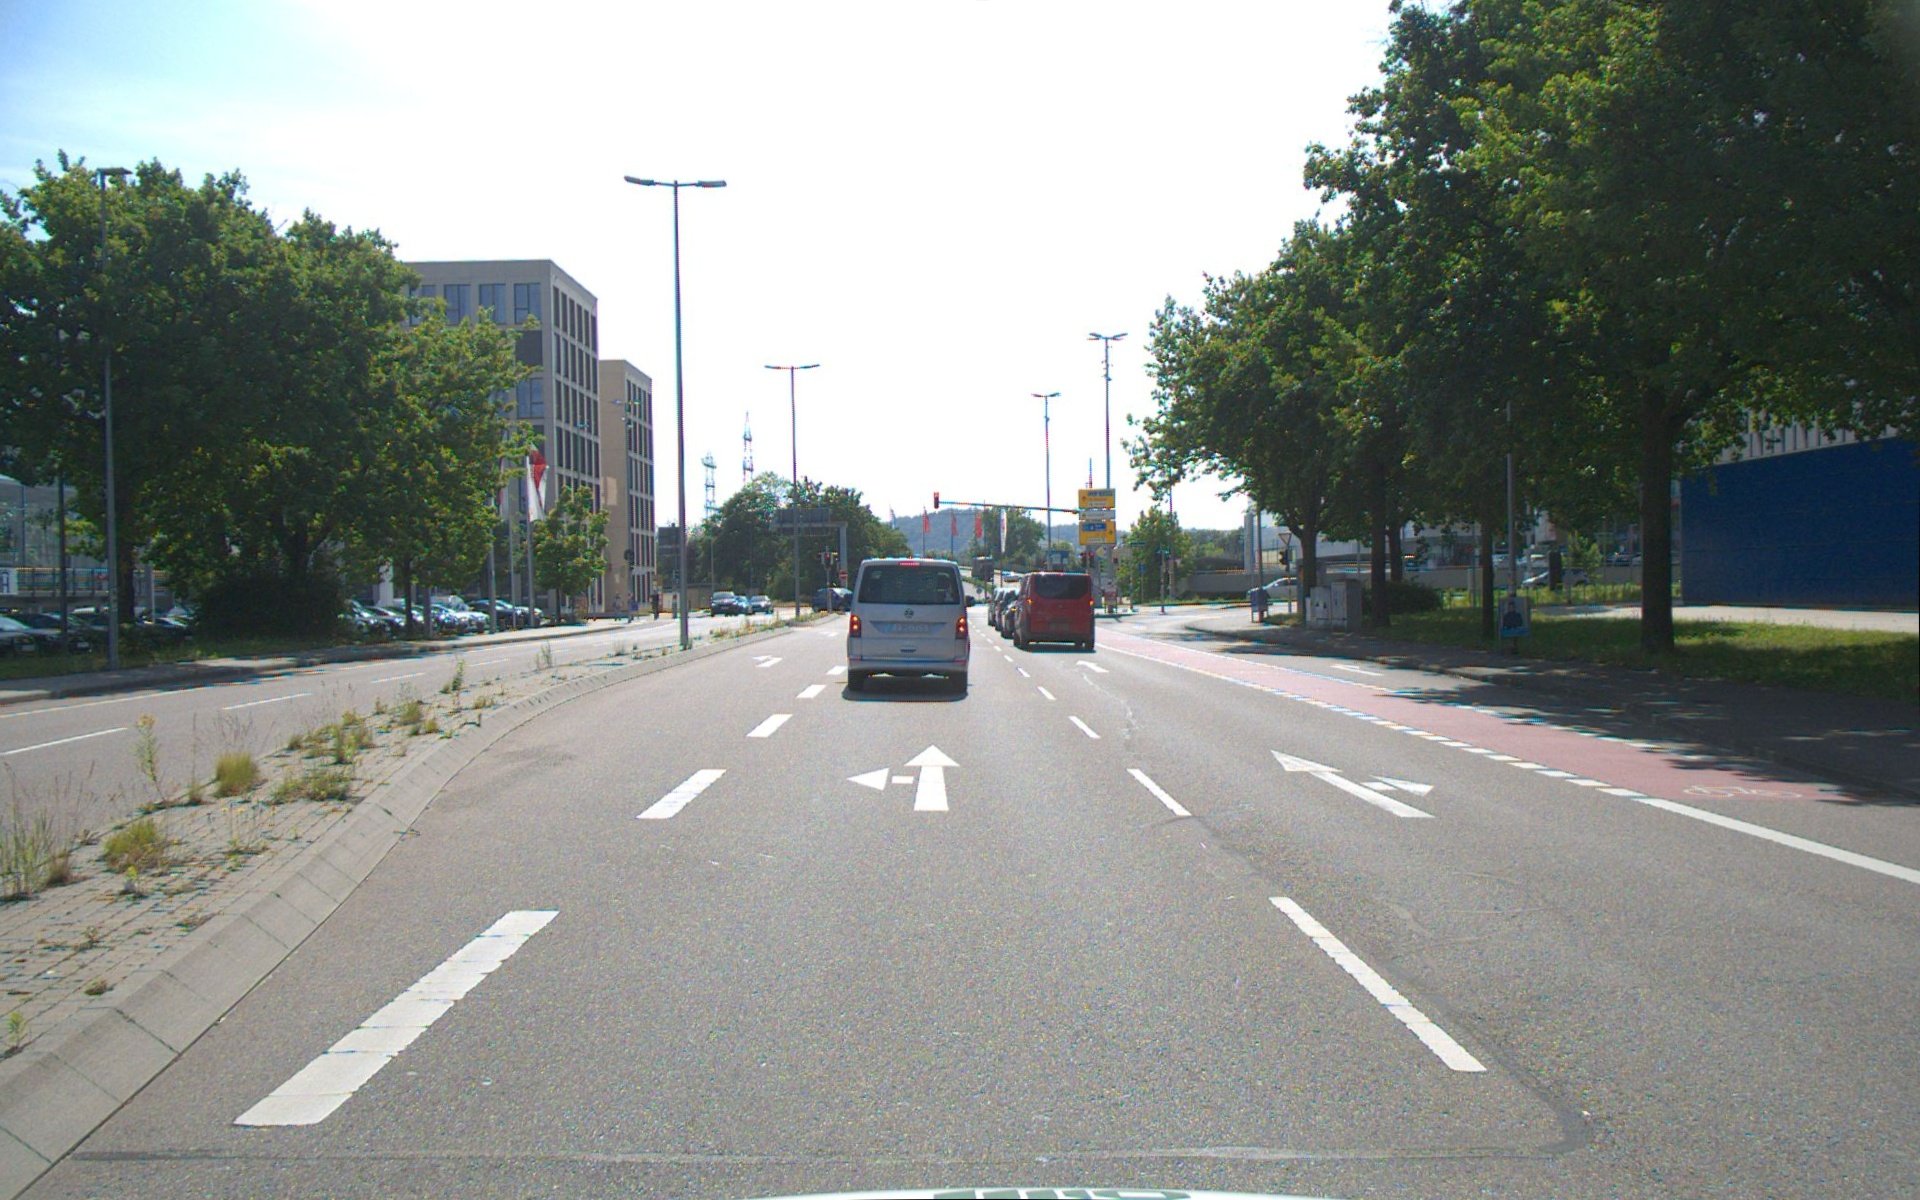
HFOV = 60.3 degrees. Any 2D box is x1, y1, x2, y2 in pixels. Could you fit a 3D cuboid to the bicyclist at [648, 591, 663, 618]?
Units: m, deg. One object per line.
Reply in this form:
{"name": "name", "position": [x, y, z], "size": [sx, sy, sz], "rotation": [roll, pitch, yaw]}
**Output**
{"name": "bicyclist", "position": [-18.078, 0.259, 98.258], "size": [0.606, 1.553, 1.036], "rotation": [-2, 0, 0]}

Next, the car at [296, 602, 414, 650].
{"name": "car", "position": [-23.136, 0.984, 63.288], "size": [3.794, 1.444, 1.660], "rotation": [-5, 1, 2]}

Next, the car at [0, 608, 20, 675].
{"name": "car", "position": [-23.086, 1.096, 36.059], "size": [3.907, 1.467, 2.000], "rotation": [-5, 0, -1]}

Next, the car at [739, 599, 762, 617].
{"name": "car", "position": [-17.334, 0.649, 137.102], "size": [1.545, 1.434, 4.376], "rotation": [-1, 0, -3]}

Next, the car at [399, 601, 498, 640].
{"name": "car", "position": [-23.036, 0.920, 74.576], "size": [3.794, 1.388, 1.749], "rotation": [-5, 1, 2]}

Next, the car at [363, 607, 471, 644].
{"name": "car", "position": [-22.774, 1.047, 69.442], "size": [3.794, 1.186, 1.912], "rotation": [-5, 1, 2]}

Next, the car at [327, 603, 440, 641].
{"name": "car", "position": [-23.163, 0.875, 66.510], "size": [3.794, 1.173, 1.796], "rotation": [-5, 1, 2]}

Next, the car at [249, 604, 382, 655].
{"name": "car", "position": [-22.555, 1.016, 58.002], "size": [3.794, 1.444, 1.912], "rotation": [-5, 1, 2]}

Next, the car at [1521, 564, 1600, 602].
{"name": "car", "position": [37.507, -1.065, 103.296], "size": [4.310, 2.029, 1.481], "rotation": [-4, 0, 3]}

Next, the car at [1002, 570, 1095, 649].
{"name": "car", "position": [2.337, 0.230, 44.990], "size": [1.929, 2.002, 5.121], "rotation": [0, 0, -4]}

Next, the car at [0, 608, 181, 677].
{"name": "car", "position": [-23.408, 1.130, 44.089], "size": [4.219, 1.467, 2.051], "rotation": [-5, 0, -2]}

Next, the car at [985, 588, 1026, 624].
{"name": "car", "position": [1.908, 0.232, 69.963], "size": [1.546, 1.483, 3.784], "rotation": [0, 0, -1]}

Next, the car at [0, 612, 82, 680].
{"name": "car", "position": [-23.187, 1.194, 38.661], "size": [4.163, 1.467, 2.000], "rotation": [-5, 0, -1]}

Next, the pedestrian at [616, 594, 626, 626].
{"name": "pedestrian", "position": [-21.695, 0.642, 105.829], "size": [0.548, 2.049, 0.575], "rotation": [0, 0, -9]}

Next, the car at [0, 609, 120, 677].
{"name": "car", "position": [-23.552, 1.138, 41.270], "size": [4.056, 1.467, 2.000], "rotation": [-5, 0, -1]}

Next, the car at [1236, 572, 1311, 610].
{"name": "car", "position": [19.317, -0.537, 101.928], "size": [4.310, 2.029, 1.481], "rotation": [-4, 0, 3]}

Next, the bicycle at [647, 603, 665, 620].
{"name": "bicycle", "position": [-18.069, 0.699, 98.366], "size": [0.666, 0.957, 1.973], "rotation": [-2, 0, 0]}

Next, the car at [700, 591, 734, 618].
{"name": "car", "position": [-15.883, 0.296, 108.284], "size": [1.704, 1.646, 4.206], "rotation": [-4, 0, -3]}

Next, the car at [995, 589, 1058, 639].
{"name": "car", "position": [2.049, 0.406, 51.873], "size": [1.711, 1.484, 4.475], "rotation": [0, 0, -1]}

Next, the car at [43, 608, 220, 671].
{"name": "car", "position": [-23.345, 1.104, 46.717], "size": [3.907, 1.382, 2.000], "rotation": [-5, 0, -1]}

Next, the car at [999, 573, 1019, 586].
{"name": "car", "position": [7.548, -3.125, 252.850], "size": [1.961, 2.049, 3.983], "rotation": [0, 0, -16]}

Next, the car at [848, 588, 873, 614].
{"name": "car", "position": [-10.483, 0.050, 173.877], "size": [2.358, 2.605, 6.887], "rotation": [-1, 0, -5]}

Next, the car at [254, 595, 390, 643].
{"name": "car", "position": [-23.284, 0.674, 60.483], "size": [4.081, 1.354, 2.038], "rotation": [-5, 1, 2]}

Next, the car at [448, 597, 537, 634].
{"name": "car", "position": [-23.303, 0.757, 82.498], "size": [3.795, 1.490, 1.868], "rotation": [-5, 1, 0]}

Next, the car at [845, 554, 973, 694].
{"name": "car", "position": [-0.775, 0.336, 25.942], "size": [1.846, 2.025, 3.999], "rotation": [0, 0, -1]}

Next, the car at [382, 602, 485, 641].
{"name": "car", "position": [-22.946, 0.938, 72.176], "size": [3.794, 1.356, 1.849], "rotation": [-5, 1, 2]}

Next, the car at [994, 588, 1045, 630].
{"name": "car", "position": [2.224, 0.312, 62.682], "size": [1.711, 1.543, 4.077], "rotation": [0, 0, -1]}

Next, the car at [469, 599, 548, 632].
{"name": "car", "position": [-23.221, 0.777, 85.094], "size": [3.521, 1.381, 1.640], "rotation": [-5, 1, 0]}
